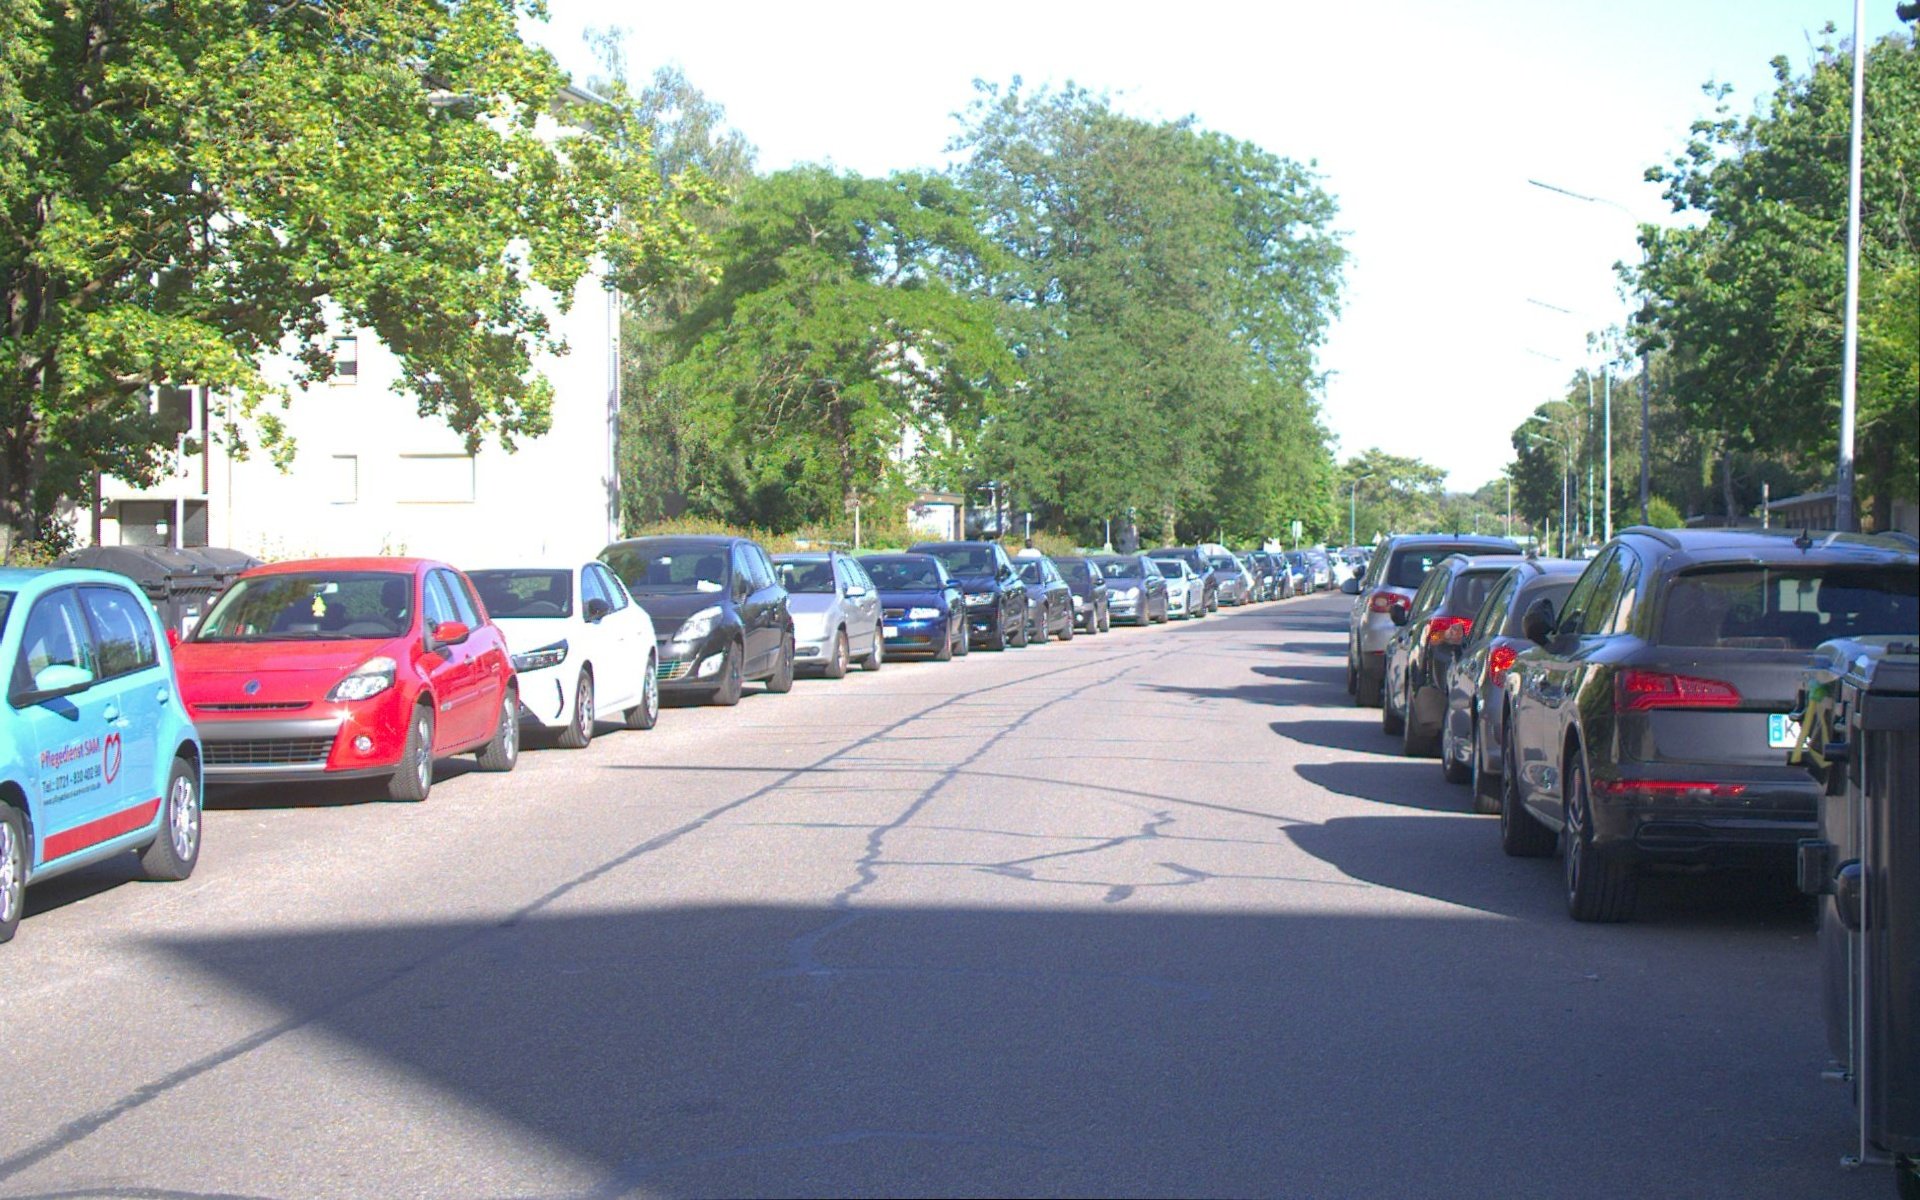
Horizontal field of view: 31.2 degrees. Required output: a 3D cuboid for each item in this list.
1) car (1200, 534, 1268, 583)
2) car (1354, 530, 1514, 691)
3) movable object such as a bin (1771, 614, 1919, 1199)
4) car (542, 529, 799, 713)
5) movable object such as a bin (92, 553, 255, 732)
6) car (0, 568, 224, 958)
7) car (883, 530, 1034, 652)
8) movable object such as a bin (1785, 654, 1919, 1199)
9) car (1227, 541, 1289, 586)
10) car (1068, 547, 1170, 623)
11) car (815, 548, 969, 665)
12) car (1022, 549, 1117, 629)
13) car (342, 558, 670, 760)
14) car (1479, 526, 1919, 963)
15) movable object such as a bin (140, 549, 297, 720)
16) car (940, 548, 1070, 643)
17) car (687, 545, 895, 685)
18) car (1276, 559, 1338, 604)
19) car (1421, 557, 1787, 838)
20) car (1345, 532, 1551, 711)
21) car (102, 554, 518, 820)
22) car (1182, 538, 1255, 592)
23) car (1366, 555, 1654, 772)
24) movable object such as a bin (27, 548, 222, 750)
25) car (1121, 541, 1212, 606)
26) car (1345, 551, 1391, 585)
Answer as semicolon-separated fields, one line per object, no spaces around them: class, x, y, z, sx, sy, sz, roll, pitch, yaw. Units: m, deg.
car;7.917;-1.200;99.071;1.510;1.324;3.465;-2;1;12
car;5.300;0.071;38.816;1.653;1.693;4.232;1;1;7
movable object such as a bin;2.733;0.745;8.735;1.228;1.392;1.170;0;1;9
car;-2.770;0.150;33.809;1.671;1.661;4.405;-1;1;6
movable object such as a bin;-6.464;0.333;28.309;0.988;1.414;1.315;0;2;2
car;-4.476;0.641;14.605;1.670;1.469;3.678;-1;1;4
car;0.018;-0.169;51.322;1.660;1.682;4.048;-2;1;8
movable object such as a bin;2.525;0.806;7.584;1.269;1.309;1.122;-1;3;9
car;9.358;-1.151;107.738;1.510;1.324;3.465;-2;1;12
car;3.309;-0.322;70.922;1.510;1.446;3.689;-2;1;12
car;-0.863;0.053;45.743;1.660;1.421;4.049;-2;1;4
car;2.061;-0.224;64.230;1.389;1.408;3.124;-2;1;8
car;-3.490;0.410;27.079;1.671;1.416;3.900;-1;1;6
car;3.496;0.523;15.541;1.810;1.658;4.462;2;1;3
movable object such as a bin;-6.383;0.282;29.670;0.988;1.414;1.314;0;2;4
car;0.781;-0.094;56.806;1.660;1.434;3.759;-2;1;8
car;-1.915;0.133;40.116;1.660;1.481;4.051;-2;1;8
car;12.575;-0.678;124.373;1.825;1.461;4.232;1;3;11
car;3.846;0.517;21.090;1.684;1.482;3.824;2;1;3
car;4.721;0.154;33.722;1.730;1.613;4.233;1;1;5
car;-3.973;0.475;21.580;1.670;1.469;3.678;-1;1;4
car;7.026;-0.968;93.131;1.510;1.377;3.465;-2;1;12
car;4.143;0.421;26.475;1.682;1.451;4.291;2;1;3
movable object such as a bin;-6.446;0.360;26.595;1.111;1.493;1.408;0;2;2
car;4.665;-0.614;77.205;1.510;1.359;3.465;-2;1;12
car;19.648;-1.540;165.542;1.825;1.461;4.232;1;3;11
